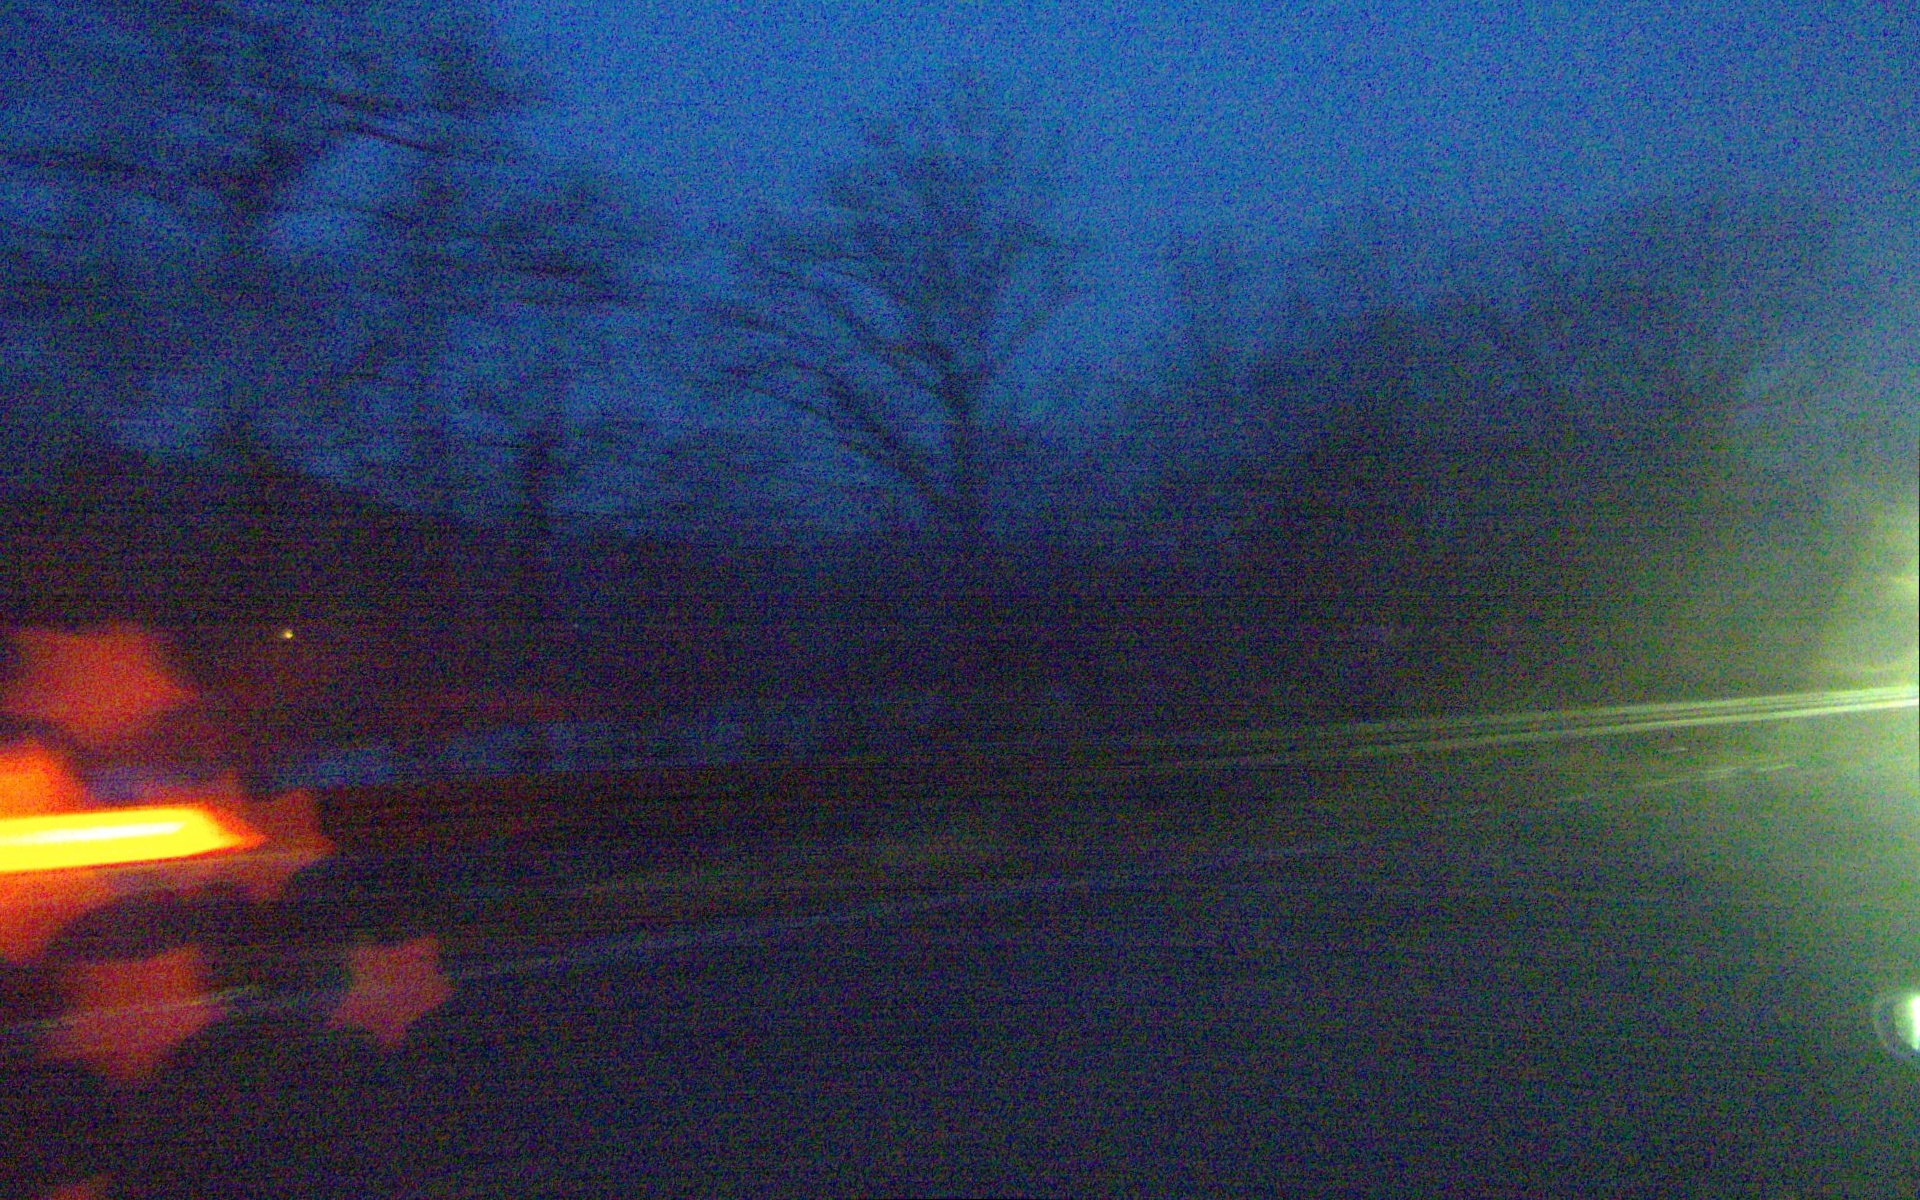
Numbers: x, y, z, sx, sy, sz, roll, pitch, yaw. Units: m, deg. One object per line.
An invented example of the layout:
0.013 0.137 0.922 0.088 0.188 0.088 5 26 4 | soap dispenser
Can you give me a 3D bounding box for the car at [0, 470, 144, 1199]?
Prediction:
-3.747 0.566 1.472 3.700 1.602 1.627 -1 0 -30 | car
